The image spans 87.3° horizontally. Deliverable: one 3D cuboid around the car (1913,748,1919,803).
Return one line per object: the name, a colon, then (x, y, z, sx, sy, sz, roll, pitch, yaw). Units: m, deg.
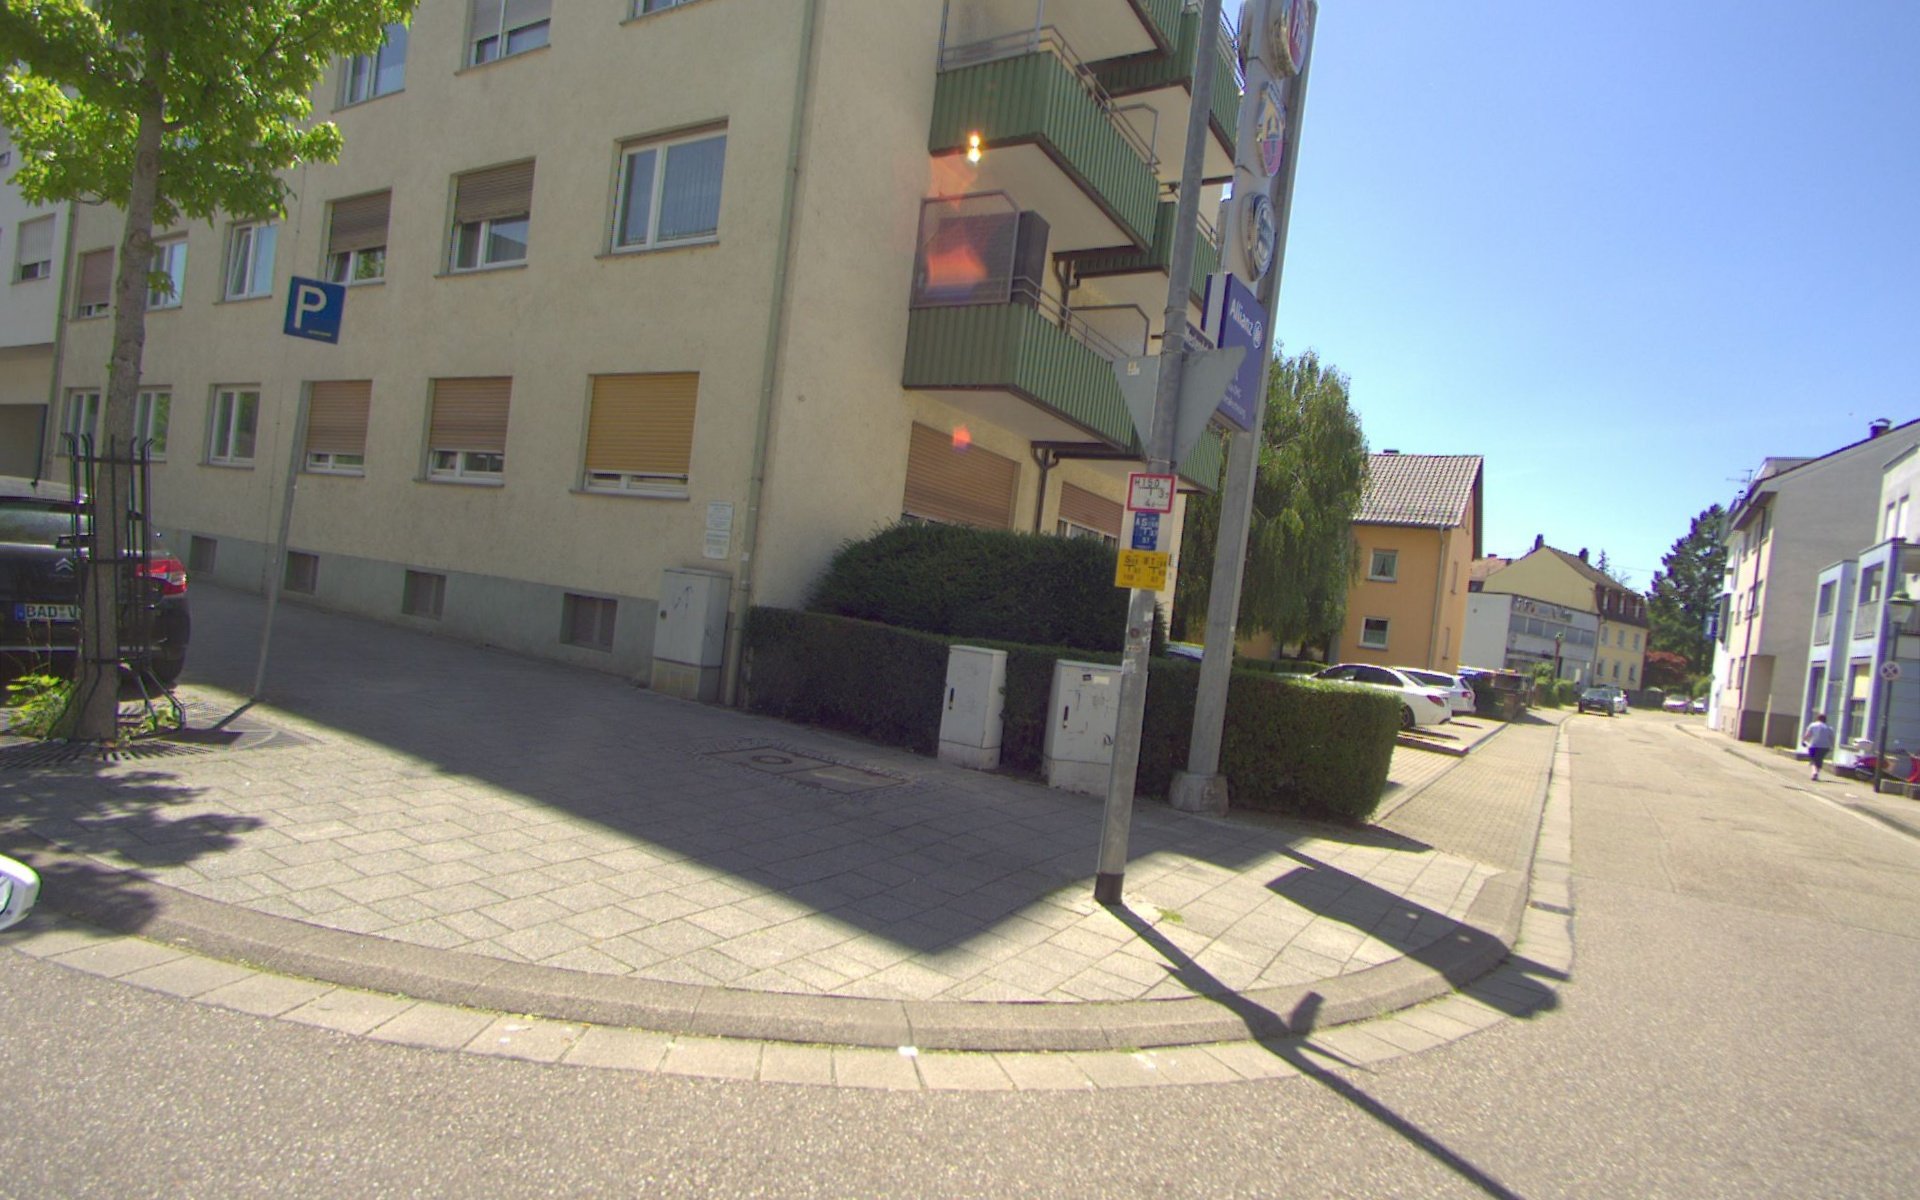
car: (21.208, 3.588, 19.571, 3.364, 1.493, 1.619, 8, -2, 20)

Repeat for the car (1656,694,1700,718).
car: (60.446, 8.918, 84.657, 4.558, 1.518, 1.976, 8, 0, -43)

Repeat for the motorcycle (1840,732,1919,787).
motorcycle: (23.776, 4.091, 25.690, 1.772, 1.173, 0.737, 5, -3, 26)

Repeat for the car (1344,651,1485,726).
car: (14.084, 2.716, 31.197, 3.707, 1.707, 1.696, 8, 0, 27)

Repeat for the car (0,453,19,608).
car: (-12.929, -1.053, 11.476, 4.611, 1.696, 1.898, 8, 2, 30)

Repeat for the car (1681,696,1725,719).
car: (66.062, 9.560, 89.405, 4.407, 1.518, 1.979, 8, 0, -38)

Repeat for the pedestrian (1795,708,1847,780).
pedestrian: (21.452, 3.582, 25.077, 0.706, 1.647, 0.684, 8, 1, 32)

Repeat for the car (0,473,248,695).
car: (-7.908, -0.309, 8.200, 4.471, 1.456, 1.897, 8, 0, 34)

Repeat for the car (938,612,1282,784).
car: (1.888, 1.151, 12.703, 3.787, 1.434, 1.841, 8, 0, 27)

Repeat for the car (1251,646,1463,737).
car: (9.847, 2.225, 25.046, 4.510, 1.479, 1.996, 8, 0, 31)

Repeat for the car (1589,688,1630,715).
car: (44.136, 6.912, 68.322, 1.827, 1.518, 4.055, 8, 0, 38)

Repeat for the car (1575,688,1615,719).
car: (37.979, 6.149, 60.132, 1.793, 1.518, 3.878, 8, 0, 34)
